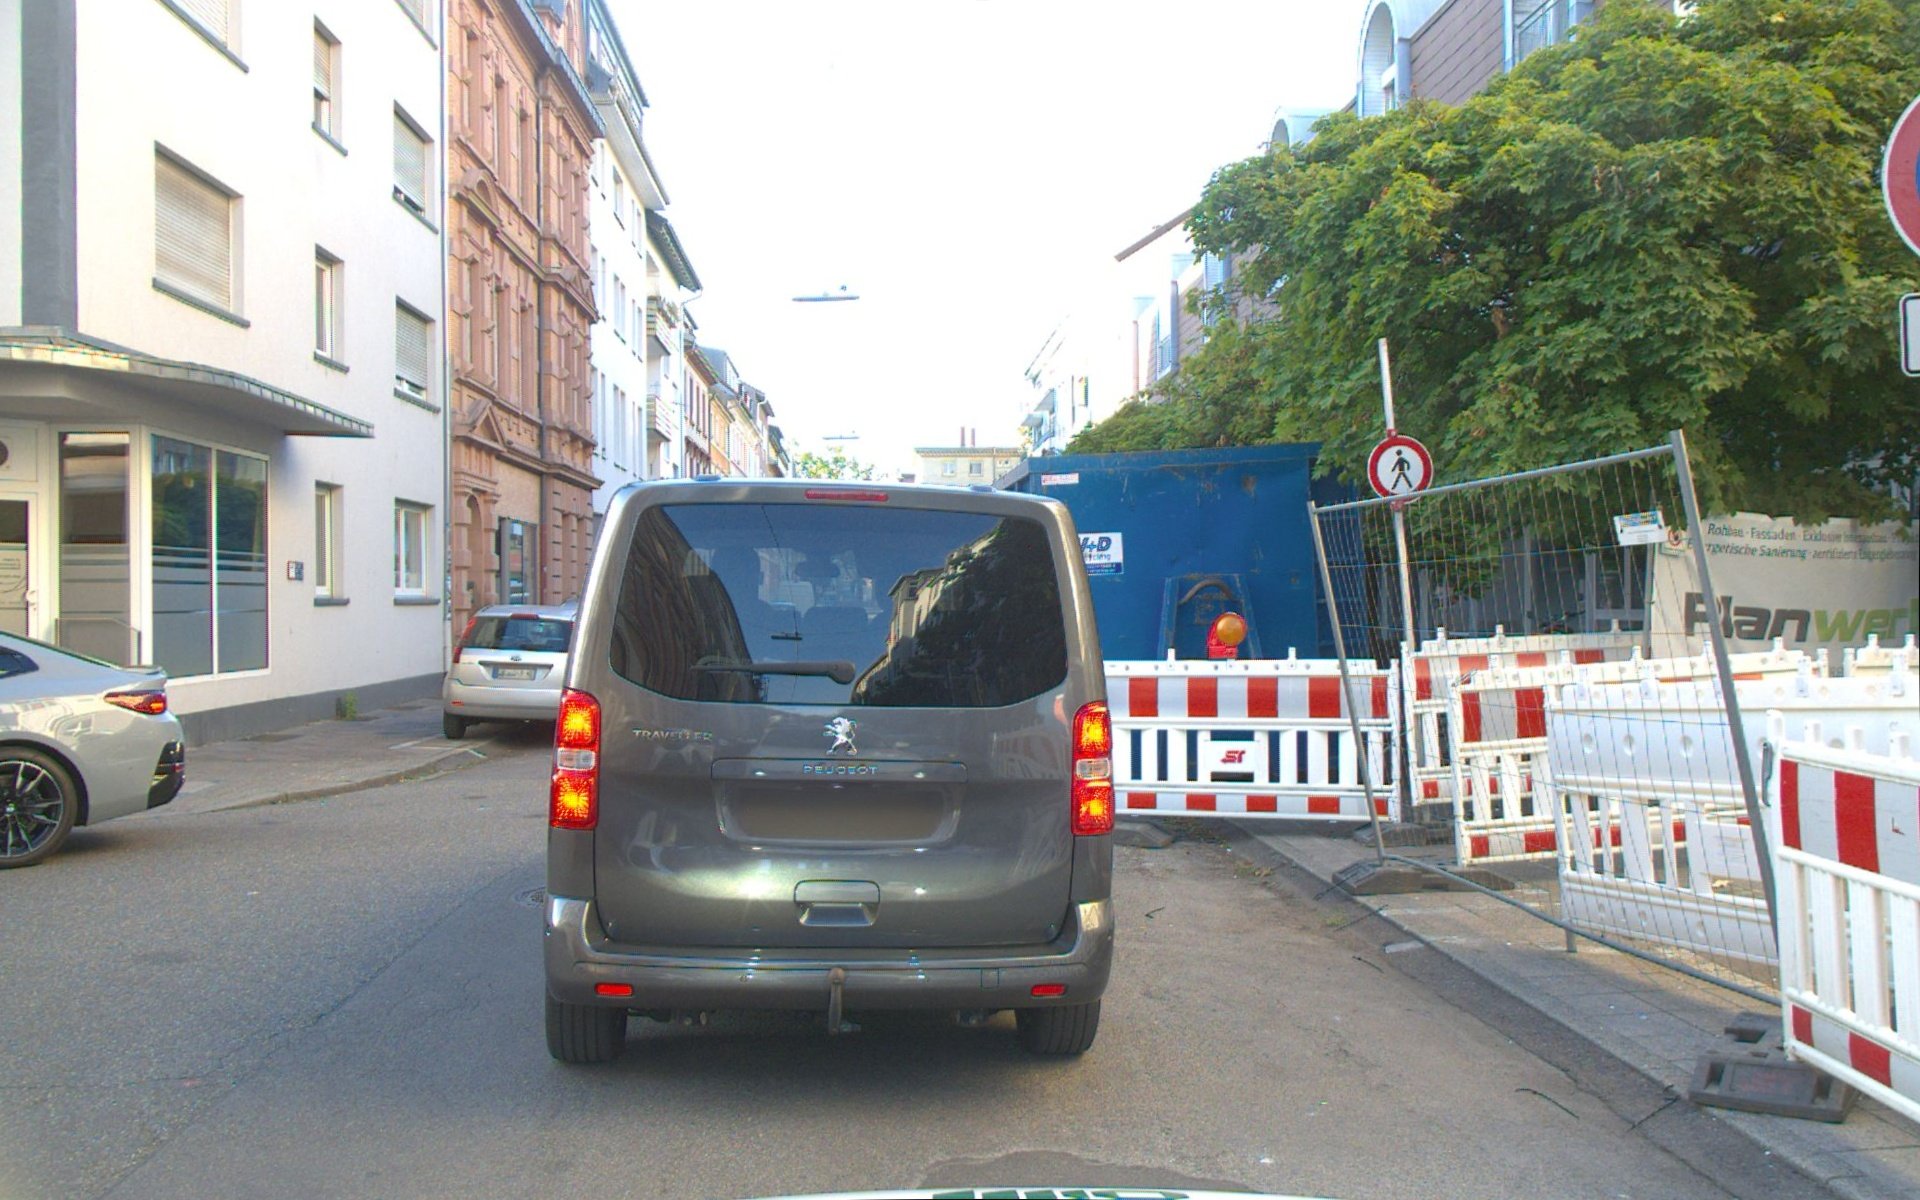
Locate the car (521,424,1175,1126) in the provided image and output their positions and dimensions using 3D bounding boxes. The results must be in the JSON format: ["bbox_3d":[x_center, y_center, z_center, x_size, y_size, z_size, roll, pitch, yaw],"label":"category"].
[{"bbox_3d":[-0.533,0.503,6.752,1.829,1.919,4.229,0,-1,-7],"label":"car"}]

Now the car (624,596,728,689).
[{"bbox_3d":[-5.959,0.880,35.119,1.856,1.749,3.748,4,-1,-7],"label":"car"}]

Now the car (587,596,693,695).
[{"bbox_3d":[-6.042,0.841,31.474,1.635,1.695,3.087,4,-1,-7],"label":"car"}]

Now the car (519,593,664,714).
[{"bbox_3d":[-5.357,0.750,24.405,1.625,1.552,3.413,4,-1,-7],"label":"car"}]

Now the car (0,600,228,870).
[{"bbox_3d":[-6.789,0.760,9.046,4.769,1.477,1.904,-1,0,-42],"label":"car"}]

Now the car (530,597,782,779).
[{"bbox_3d":[-2.736,0.776,15.570,1.622,1.486,3.418,-1,-1,2],"label":"car"}]

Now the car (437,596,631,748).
[{"bbox_3d":[-4.814,0.777,19.105,1.625,1.485,3.413,4,-1,-7],"label":"car"}]
